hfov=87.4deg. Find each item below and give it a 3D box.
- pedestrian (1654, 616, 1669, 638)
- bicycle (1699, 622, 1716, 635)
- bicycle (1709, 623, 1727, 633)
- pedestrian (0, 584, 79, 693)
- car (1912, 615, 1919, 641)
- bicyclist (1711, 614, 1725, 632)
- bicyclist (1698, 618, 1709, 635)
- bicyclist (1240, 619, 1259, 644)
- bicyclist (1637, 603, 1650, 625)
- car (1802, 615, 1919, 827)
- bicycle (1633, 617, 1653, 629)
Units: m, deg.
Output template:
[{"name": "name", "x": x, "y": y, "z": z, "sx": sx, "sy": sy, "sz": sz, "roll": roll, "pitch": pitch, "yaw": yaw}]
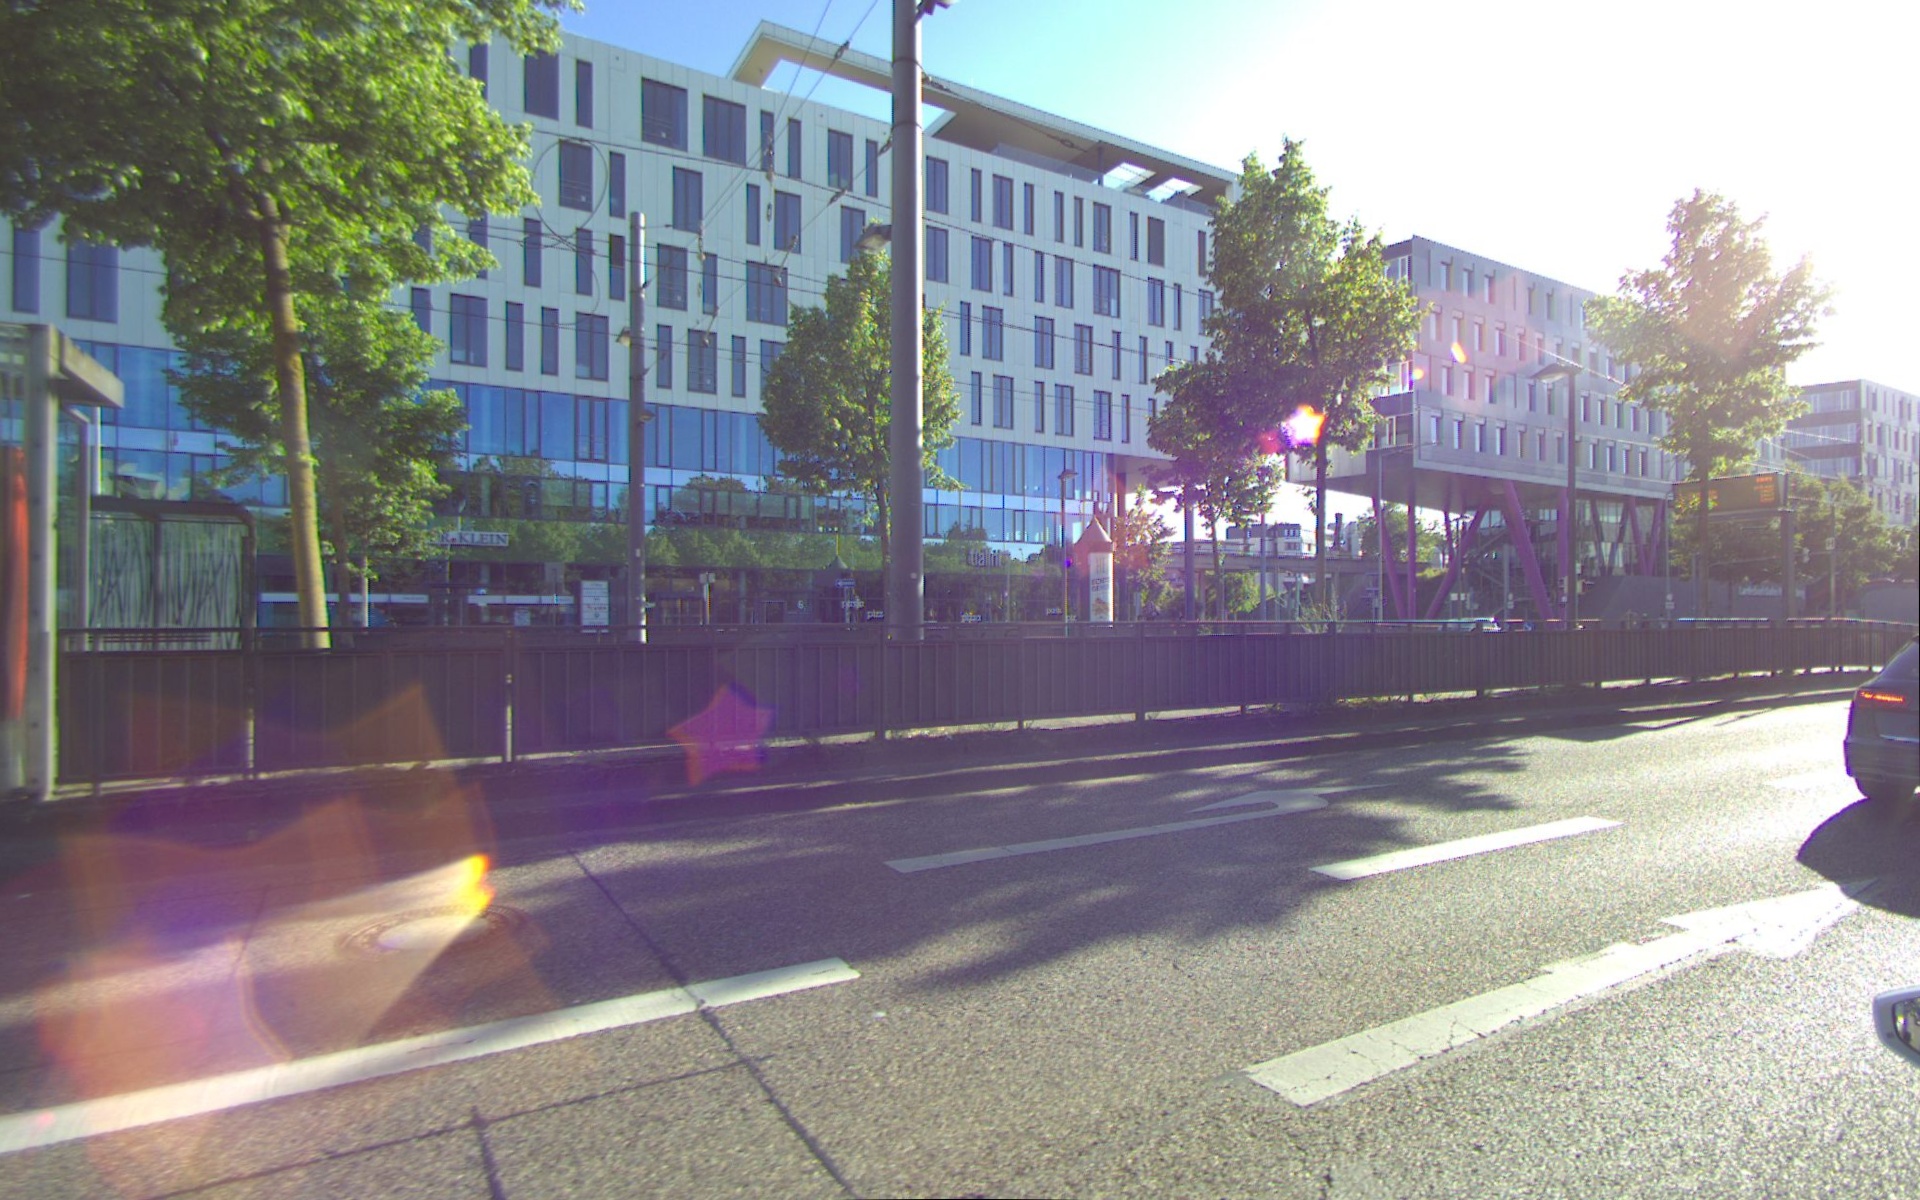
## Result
[{"name": "pedestrian", "x": 58.517, "y": 2.248, "z": 83.813, "sx": 0.861, "sy": 1.846, "sz": 0.717, "roll": 0, "pitch": -1, "yaw": -30}, {"name": "bicycle", "x": 66.770, "y": 2.539, "z": 89.674, "sx": 1.952, "sy": 1.188, "sz": 0.517, "roll": 0, "pitch": -1, "yaw": -31}, {"name": "bicycle", "x": 63.646, "y": 2.347, "z": 84.374, "sx": 1.672, "sy": 0.874, "sz": 0.573, "roll": 0, "pitch": -1, "yaw": -30}, {"name": "pedestrian", "x": -13.275, "y": 0.533, "z": 14.301, "sx": 0.833, "sy": 1.486, "sz": 1.063, "roll": 0, "pitch": 0, "yaw": -25}, {"name": "car", "x": 60.959, "y": 1.687, "z": 62.070, "sx": 4.817, "sy": 1.583, "sz": 1.983, "roll": 0, "pitch": -1, "yaw": -32}, {"name": "bicyclist", "x": 63.684, "y": 1.916, "z": 84.398, "sx": 0.947, "sy": 1.454, "sz": 0.568, "roll": 0, "pitch": -1, "yaw": -30}, {"name": "bicyclist", "x": 66.608, "y": 2.380, "z": 89.967, "sx": 0.754, "sy": 1.515, "sz": 0.556, "roll": 0, "pitch": -1, "yaw": -31}, {"name": "bicyclist", "x": 18.857, "y": 2.035, "z": 65.517, "sx": 0.741, "sy": 1.604, "sz": 0.949, "roll": 0, "pitch": -1, "yaw": -28}, {"name": "bicyclist", "x": 53.117, "y": 1.076, "z": 78.074, "sx": 0.827, "sy": 1.749, "sz": 0.527, "roll": 0, "pitch": -1, "yaw": -30}, {"name": "car", "x": 8.779, "y": 0.870, "z": 7.882, "sx": 4.633, "sy": 1.446, "sz": 1.804, "roll": 1, "pitch": 0, "yaw": -29}, {"name": "bicycle", "x": 53.026, "y": 1.800, "z": 78.009, "sx": 1.812, "sy": 0.874, "sz": 0.525, "roll": 0, "pitch": -1, "yaw": -30}]
